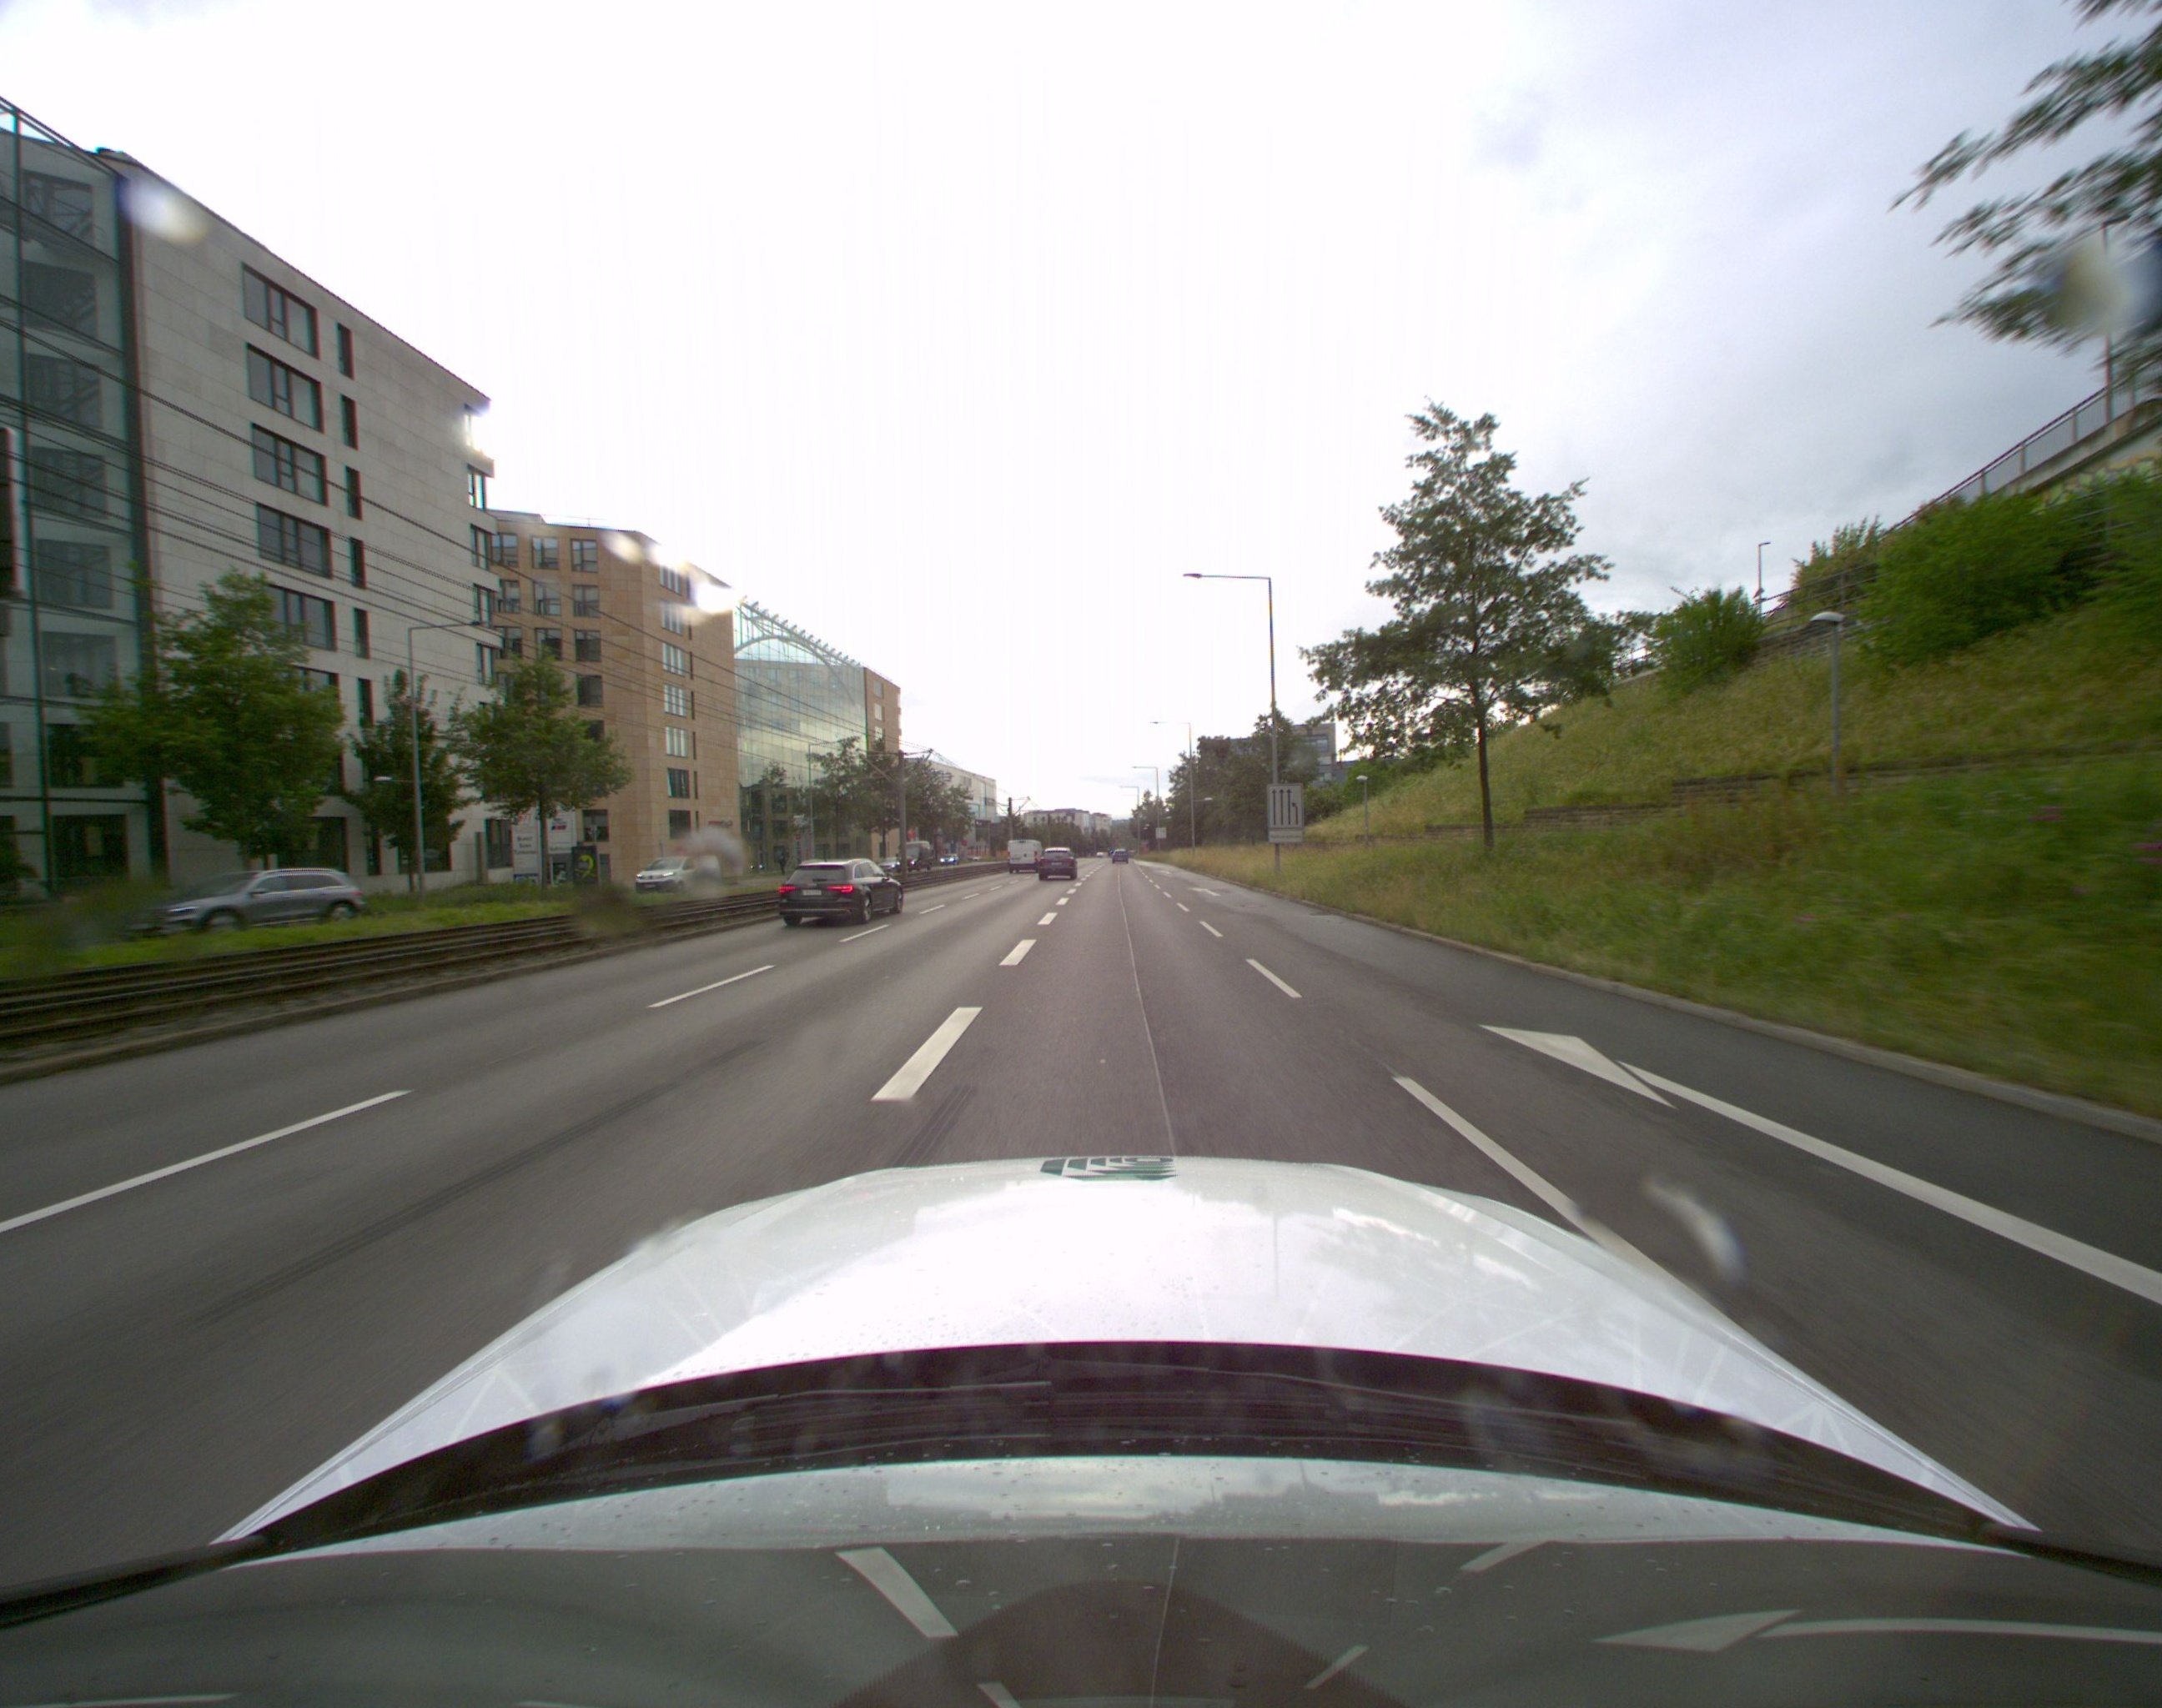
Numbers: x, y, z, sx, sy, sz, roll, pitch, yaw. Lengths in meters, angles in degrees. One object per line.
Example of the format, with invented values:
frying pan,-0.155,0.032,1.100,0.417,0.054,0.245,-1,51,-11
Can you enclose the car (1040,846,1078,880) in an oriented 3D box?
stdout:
car,-1.096,0.491,42.810,1.916,1.711,4.096,0,-2,0

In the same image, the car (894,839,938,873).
car,-14.118,0.201,70.060,2.373,2.817,5.617,0,0,4

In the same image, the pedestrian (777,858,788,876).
pedestrian,-27.175,1.170,74.115,0.639,1.631,0.832,0,-2,0

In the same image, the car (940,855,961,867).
car,-17.179,0.919,107.188,1.833,1.454,4.027,0,-1,3

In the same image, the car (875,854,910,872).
car,-17.134,0.808,74.228,1.752,1.533,4.821,0,0,3

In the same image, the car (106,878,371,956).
car,-20.688,1.464,20.353,1.802,1.606,4.494,0,0,3

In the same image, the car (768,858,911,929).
car,-5.452,0.824,19.078,1.779,1.413,4.807,0,0,1

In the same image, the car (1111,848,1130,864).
car,4.223,0.252,88.136,1.784,1.591,3.999,-2,0,0

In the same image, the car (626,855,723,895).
car,-19.365,0.957,39.110,1.930,1.761,5.066,0,0,3

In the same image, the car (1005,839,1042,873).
car,-3.943,0.118,56.990,2.260,2.285,4.759,0,0,0
